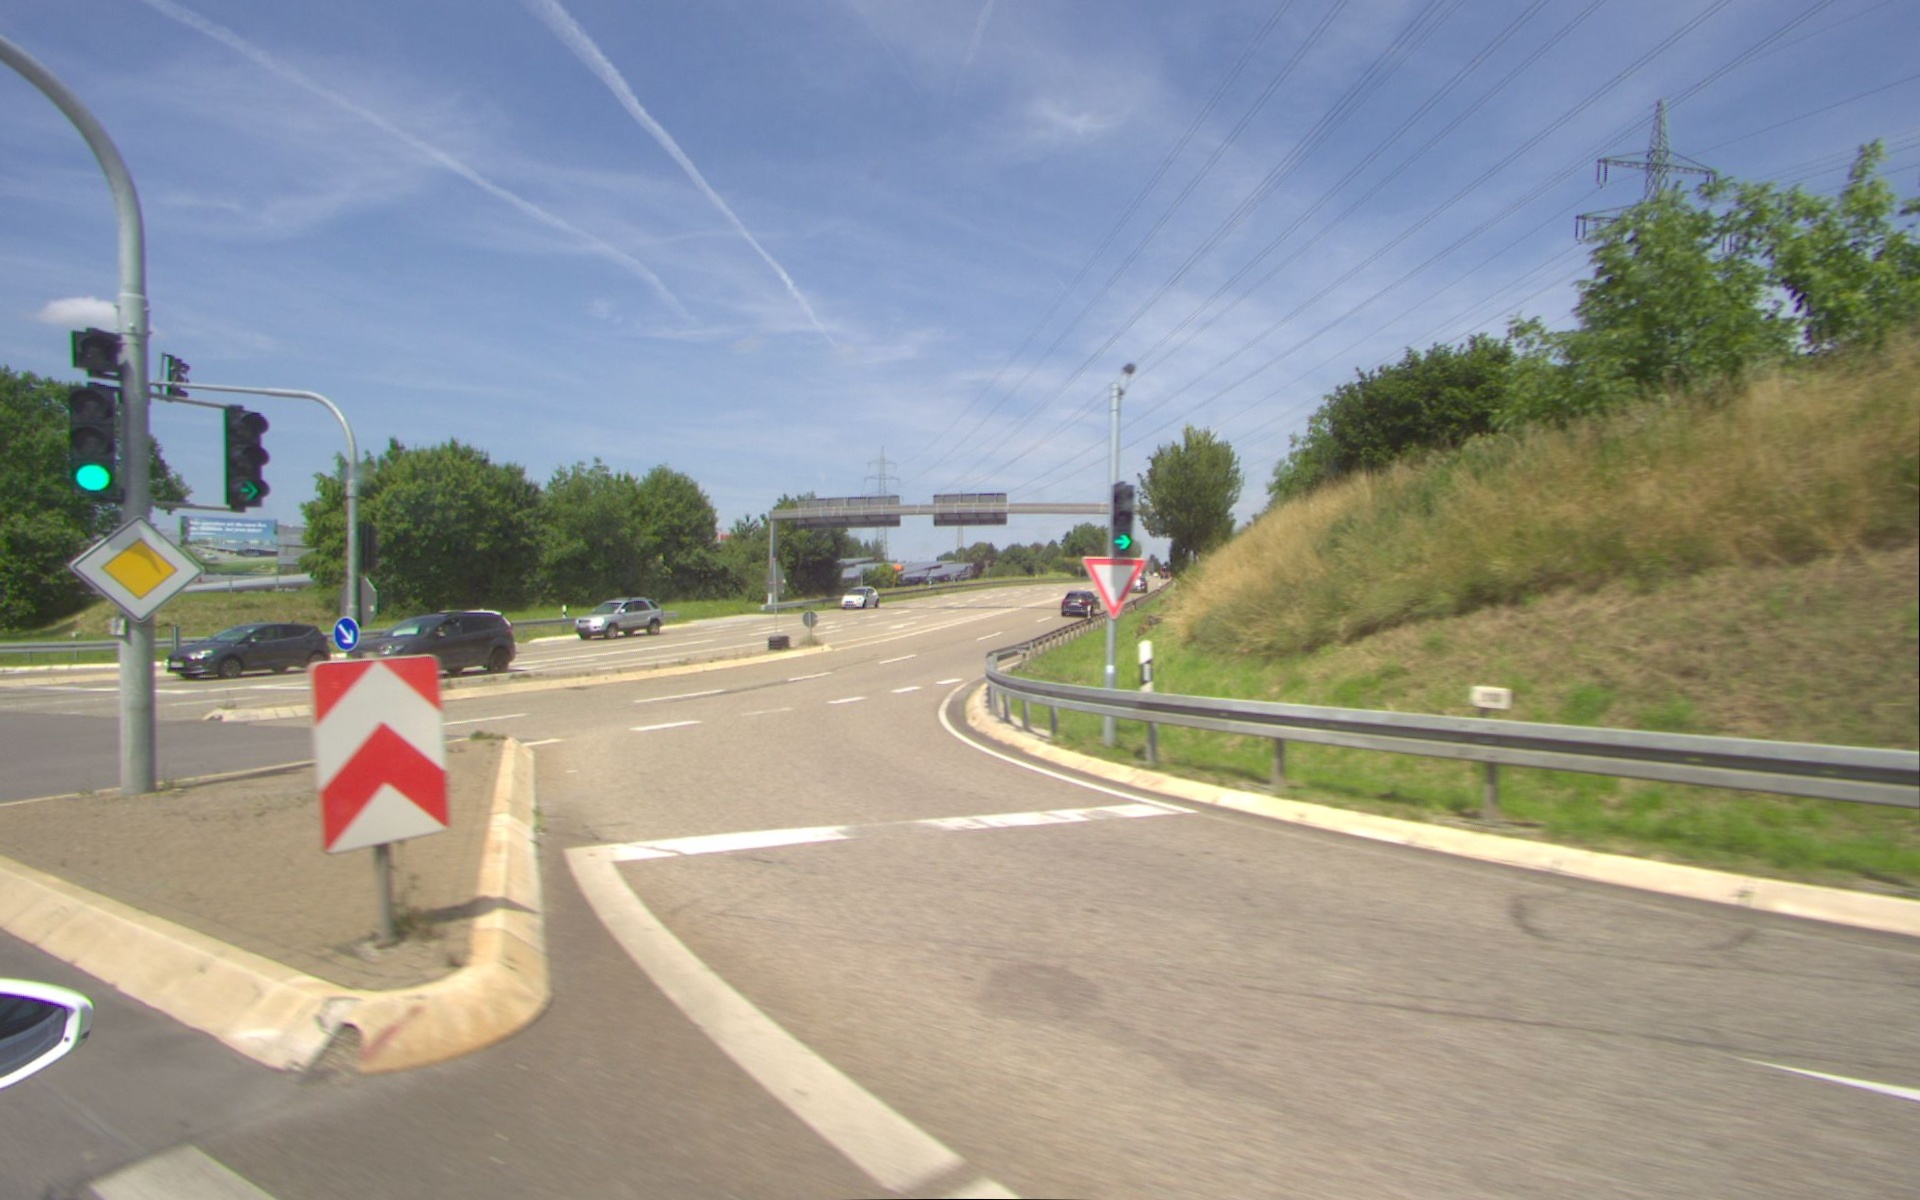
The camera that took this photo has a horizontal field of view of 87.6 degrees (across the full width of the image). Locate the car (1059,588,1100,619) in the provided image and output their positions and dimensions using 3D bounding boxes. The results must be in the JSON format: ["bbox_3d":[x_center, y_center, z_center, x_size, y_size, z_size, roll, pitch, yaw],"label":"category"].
[{"bbox_3d":[7.012,0.155,58.512,1.719,1.554,4.289,0,3,16],"label":"car"}]

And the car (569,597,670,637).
[{"bbox_3d":[-15.412,0.780,45.513,1.807,1.676,4.357,-1,-1,26],"label":"car"}]

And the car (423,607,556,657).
[{"bbox_3d":[-17.208,1.121,36.869,1.750,1.614,4.358,-1,1,23],"label":"car"}]

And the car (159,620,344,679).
[{"bbox_3d":[-19.851,1.350,28.244,1.687,1.530,3.990,-1,-1,23],"label":"car"}]

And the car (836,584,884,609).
[{"bbox_3d":[-6.966,-0.266,70.147,1.751,1.622,3.987,1,3,22],"label":"car"}]

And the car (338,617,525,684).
[{"bbox_3d":[-13.808,1.272,26.459,1.686,1.530,4.363,-1,0,20],"label":"car"}]
